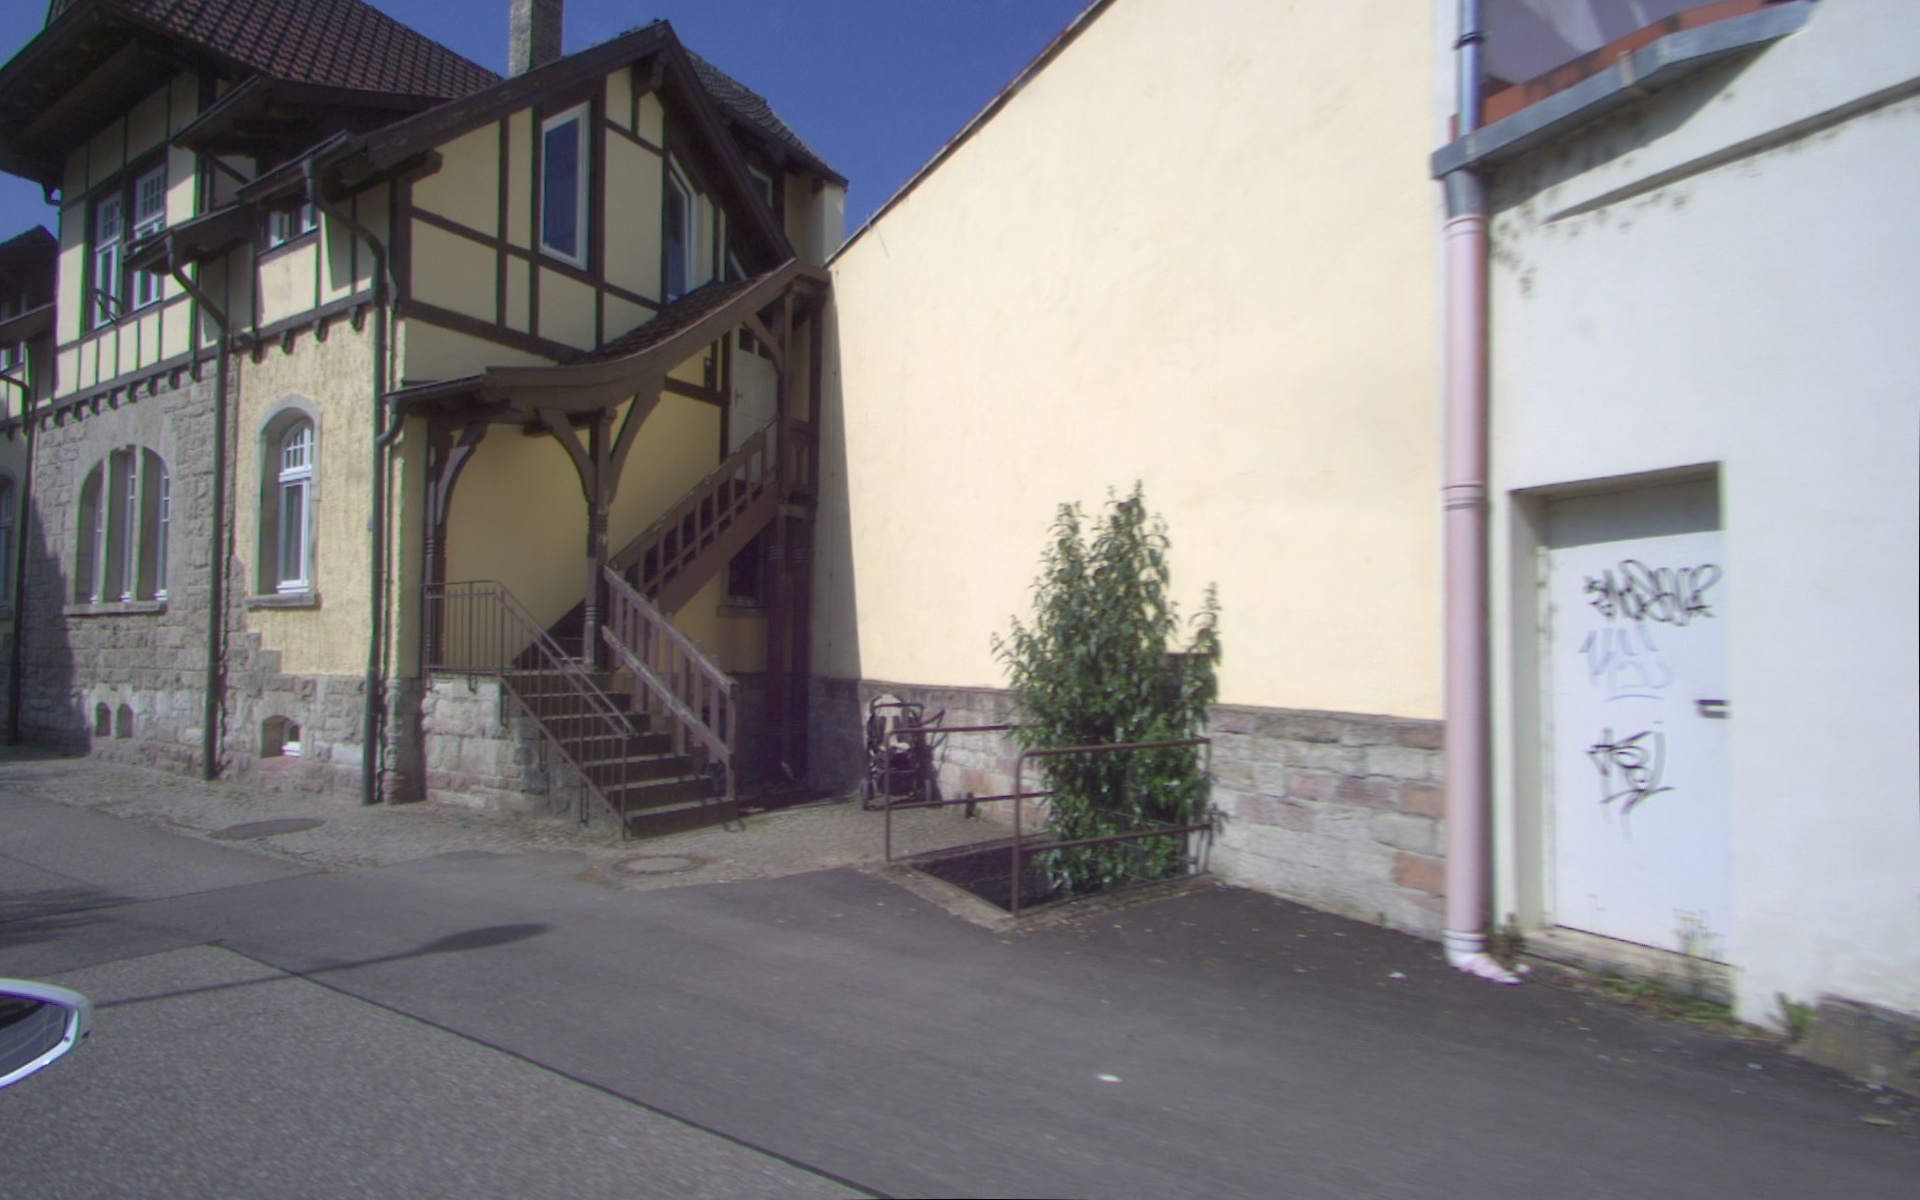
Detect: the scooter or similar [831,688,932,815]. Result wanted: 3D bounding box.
[{"bbox_3d":[-0.763,1.407,9.528,0.613,1.077,1.006,1,-2,-28],"label":"scooter or similar"}]
